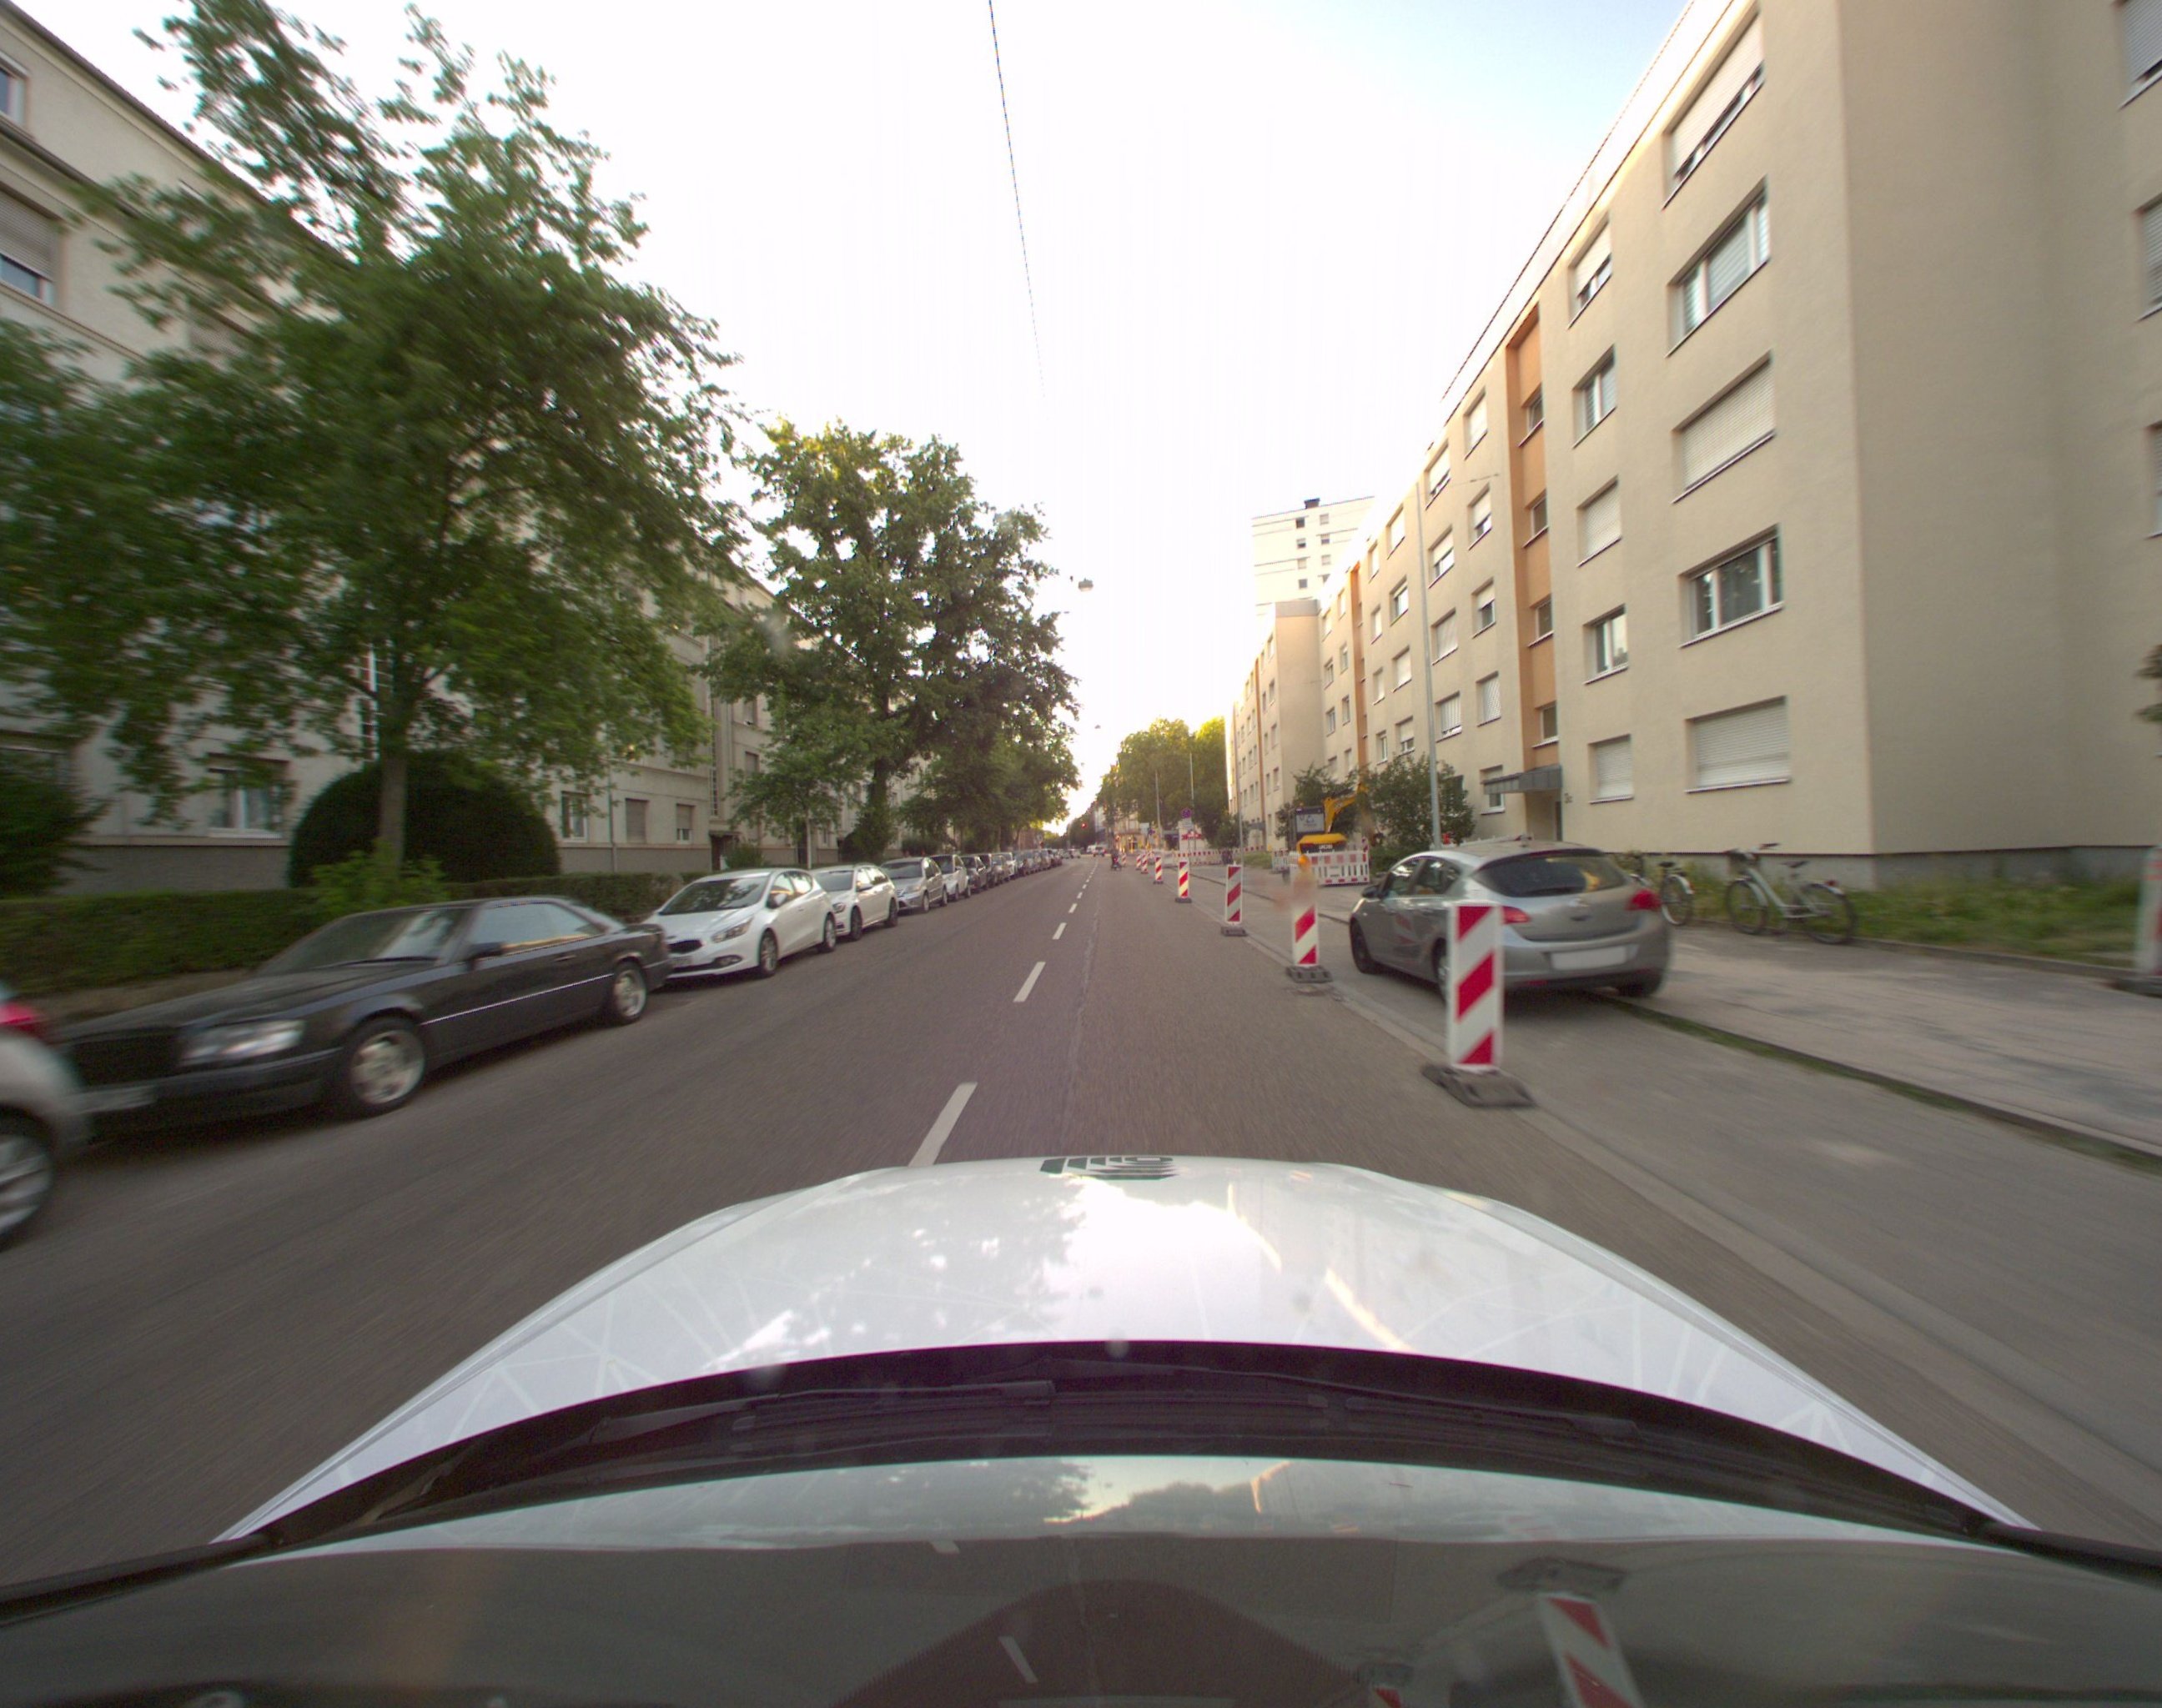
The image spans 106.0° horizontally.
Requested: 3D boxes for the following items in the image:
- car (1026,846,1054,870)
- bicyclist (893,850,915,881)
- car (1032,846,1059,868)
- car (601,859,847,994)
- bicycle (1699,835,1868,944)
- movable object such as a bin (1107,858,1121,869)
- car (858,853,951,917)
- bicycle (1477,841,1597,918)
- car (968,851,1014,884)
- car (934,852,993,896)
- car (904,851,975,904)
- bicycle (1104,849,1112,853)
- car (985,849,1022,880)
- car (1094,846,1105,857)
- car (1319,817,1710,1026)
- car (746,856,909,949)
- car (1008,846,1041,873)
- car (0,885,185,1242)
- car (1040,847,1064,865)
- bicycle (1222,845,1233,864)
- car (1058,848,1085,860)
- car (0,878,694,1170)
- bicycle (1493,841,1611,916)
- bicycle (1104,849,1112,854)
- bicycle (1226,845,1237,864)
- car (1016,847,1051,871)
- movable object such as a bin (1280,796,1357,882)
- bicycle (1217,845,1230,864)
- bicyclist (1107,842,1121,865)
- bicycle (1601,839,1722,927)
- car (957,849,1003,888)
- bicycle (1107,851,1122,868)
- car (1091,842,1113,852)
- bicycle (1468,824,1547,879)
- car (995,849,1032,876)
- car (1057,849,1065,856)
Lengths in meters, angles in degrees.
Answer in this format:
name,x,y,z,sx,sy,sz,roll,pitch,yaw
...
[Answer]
name,x,y,z,sx,sy,sz,roll,pitch,yaw
car,-3.208,0.269,64.856,1.841,1.690,4.858,-4,0,0
bicyclist,-8.476,0.544,38.997,0.805,1.404,0.974,-2,0,1
car,-3.091,0.249,72.112,1.947,1.718,4.772,-4,0,1
car,-4.965,0.900,12.041,1.687,1.459,4.144,-5,0,0
bicycle,8.381,0.382,9.827,0.553,1.172,1.819,-2,0,4
movable object such as a bin,2.354,0.636,57.440,0.935,0.689,0.994,-5,0,3
car,-4.842,0.788,22.854,1.584,1.505,3.800,-5,0,1
bicycle,7.459,0.394,13.420,0.557,1.172,1.806,-2,0,-18
car,-4.415,0.650,40.379,1.584,1.404,4.183,-5,0,2
car,-4.542,0.718,31.956,1.585,1.466,4.101,-5,0,0
car,-4.697,0.731,27.355,1.583,1.529,2.924,-5,0,4
bicycle,6.598,-0.726,199.702,1.909,0.968,0.545,-2,0,-1
car,-4.300,0.559,45.788,1.585,1.538,4.205,-5,0,-1
car,3.275,-0.455,143.891,1.860,1.815,4.000,-3,0,0
car,4.142,0.532,8.814,1.770,1.490,4.575,-6,0,2
car,-4.948,0.868,16.613,1.686,1.459,4.485,-5,0,1
car,-3.736,0.349,54.558,1.701,1.600,4.118,-5,0,2
car,-5.370,0.964,2.209,1.669,1.459,3.704,-5,0,-1
car,-2.839,0.184,79.951,1.947,1.616,4.606,-4,0,1
bicycle,9.782,0.013,54.417,0.396,1.222,1.911,-2,0,0
car,-1.488,0.008,129.953,3.949,1.585,1.884,-3,0,41
car,-5.268,1.021,6.840,1.668,1.331,4.580,-5,0,1
bicycle,7.991,0.386,13.913,0.627,1.172,1.807,-2,0,-15
bicycle,6.636,-0.612,199.898,1.909,0.968,0.545,-2,0,-1
bicycle,10.030,0.009,54.345,0.396,1.222,1.826,-2,0,0
car,-3.425,0.333,59.396,1.724,1.497,4.277,-4,0,6
movable object such as a bin,7.973,-0.499,27.595,1.923,2.693,2.897,-2,0,6
bicycle,9.505,0.018,54.332,0.450,1.222,1.911,-2,0,0
bicyclist,2.406,-0.030,59.140,0.935,1.581,1.147,-5,0,3
bicycle,8.395,0.382,11.876,0.553,1.172,1.819,-2,0,4
car,-4.446,0.622,36.230,1.518,1.529,3.164,-5,0,0
bicycle,2.441,0.398,59.118,0.935,1.172,2.361,-5,0,3
car,5.336,-1.770,206.159,5.855,2.287,2.047,-2,0,-42
bicycle,9.936,-0.066,18.988,1.590,1.222,0.484,-2,0,-5
car,-4.122,0.505,50.182,1.701,1.452,3.845,-5,0,2
car,-5.195,-0.319,210.833,1.779,1.651,3.813,-1,0,-6
